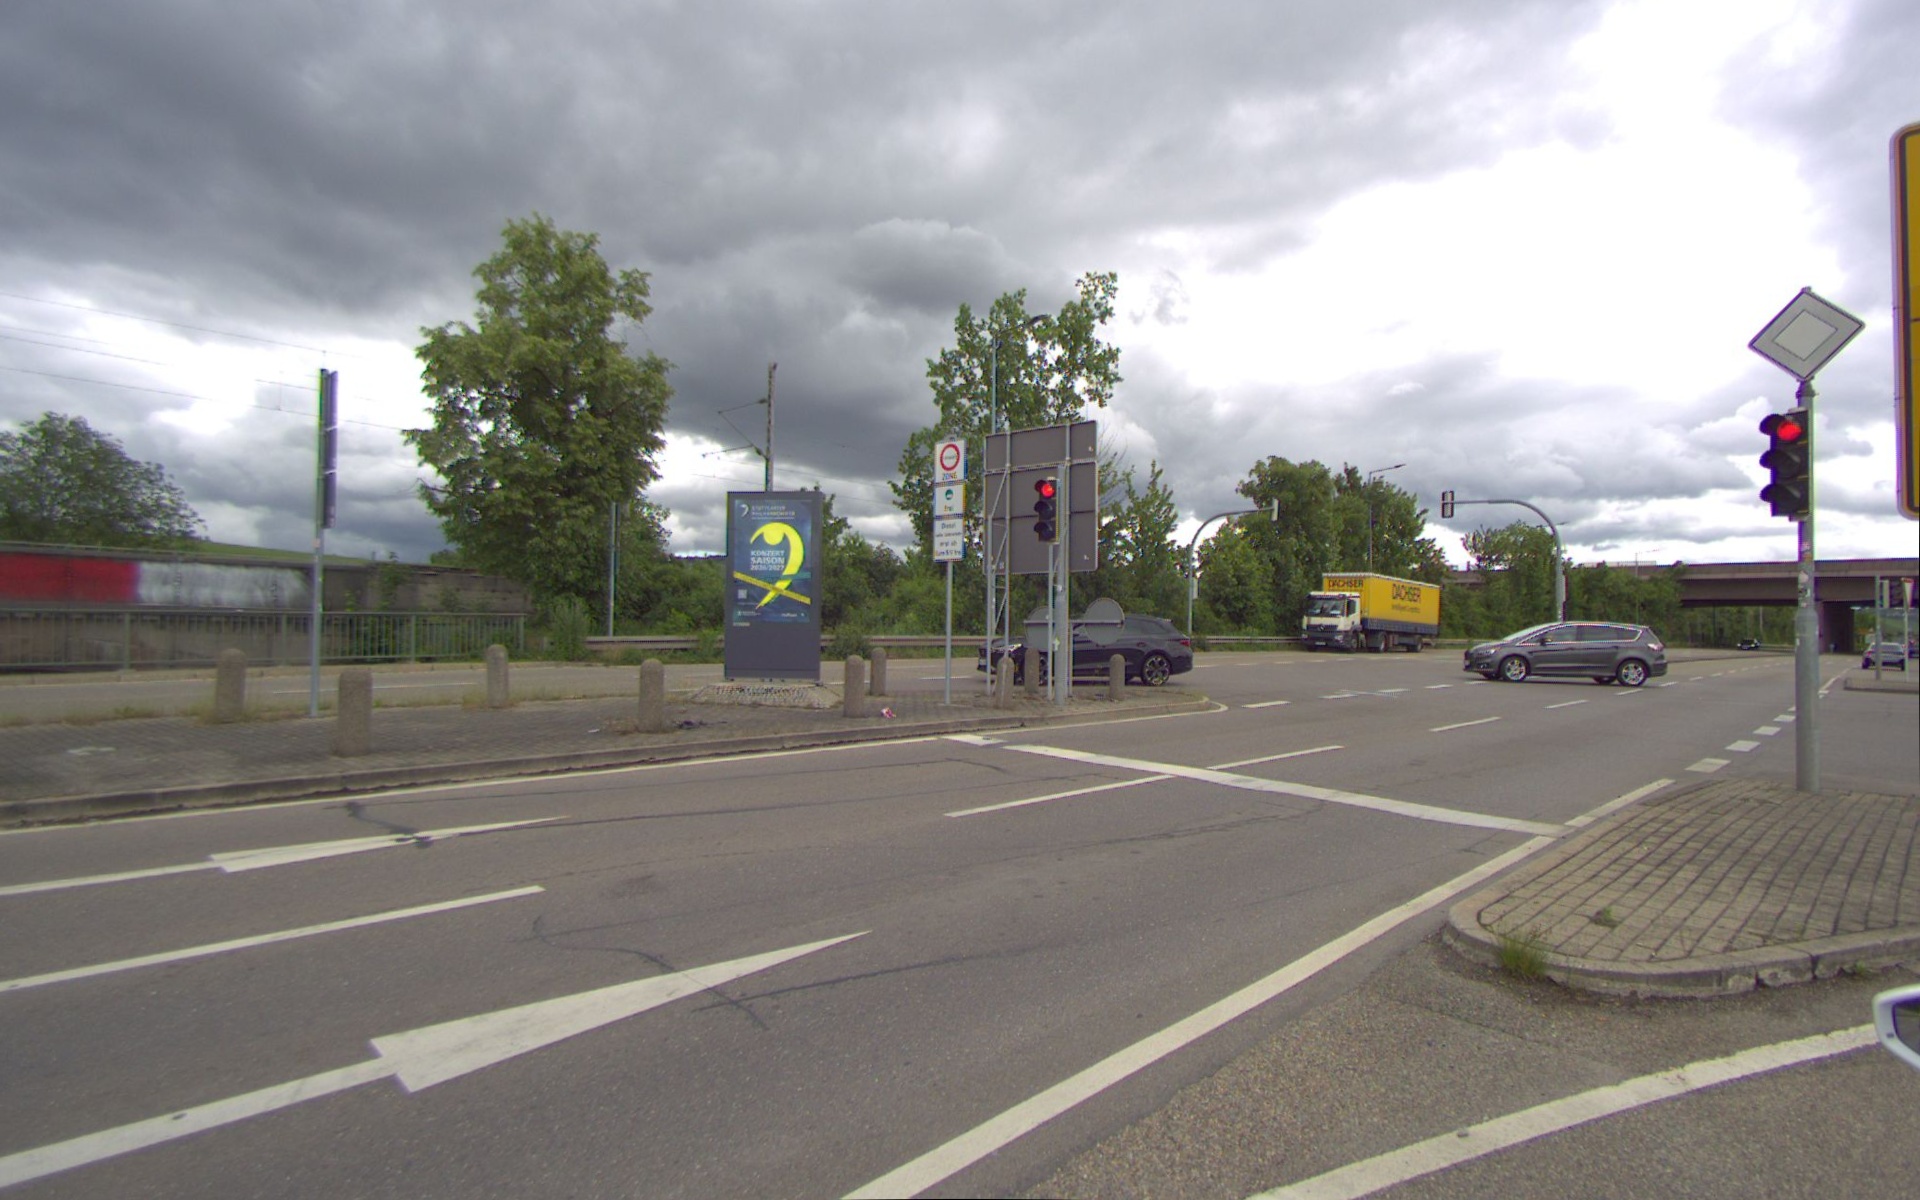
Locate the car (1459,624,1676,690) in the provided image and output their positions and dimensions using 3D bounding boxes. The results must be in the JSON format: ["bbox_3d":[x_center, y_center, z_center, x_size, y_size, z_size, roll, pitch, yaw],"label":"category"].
[{"bbox_3d":[16.209,1.495,27.049,4.599,1.592,1.957,0,0,13],"label":"car"}]

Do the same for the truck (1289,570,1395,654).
[{"bbox_3d":[20.325,0.632,53.233,2.841,4.139,6.449,3,1,43],"label":"truck"}]

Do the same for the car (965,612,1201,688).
[{"bbox_3d":[2.542,1.008,21.132,4.544,1.477,1.949,0,0,-16],"label":"car"}]

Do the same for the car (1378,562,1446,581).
[{"bbox_3d":[81.415,-5.189,181.186,3.454,3.071,11.057,1,3,-33],"label":"car"}]

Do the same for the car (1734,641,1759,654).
[{"bbox_3d":[99.345,5.966,126.854,3.839,1.402,1.845,0,3,-42],"label":"car"}]

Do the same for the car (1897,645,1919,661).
[{"bbox_3d":[93.972,5.240,99.137,1.971,1.483,4.090,1,-2,42],"label":"car"}]

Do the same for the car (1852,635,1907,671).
[{"bbox_3d":[50.224,2.842,54.838,4.716,1.684,1.890,1,2,-45],"label":"car"}]

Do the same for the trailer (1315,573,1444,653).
[{"bbox_3d":[24.068,0.752,57.185,2.841,4.139,11.359,3,1,43],"label":"trailer"}]
